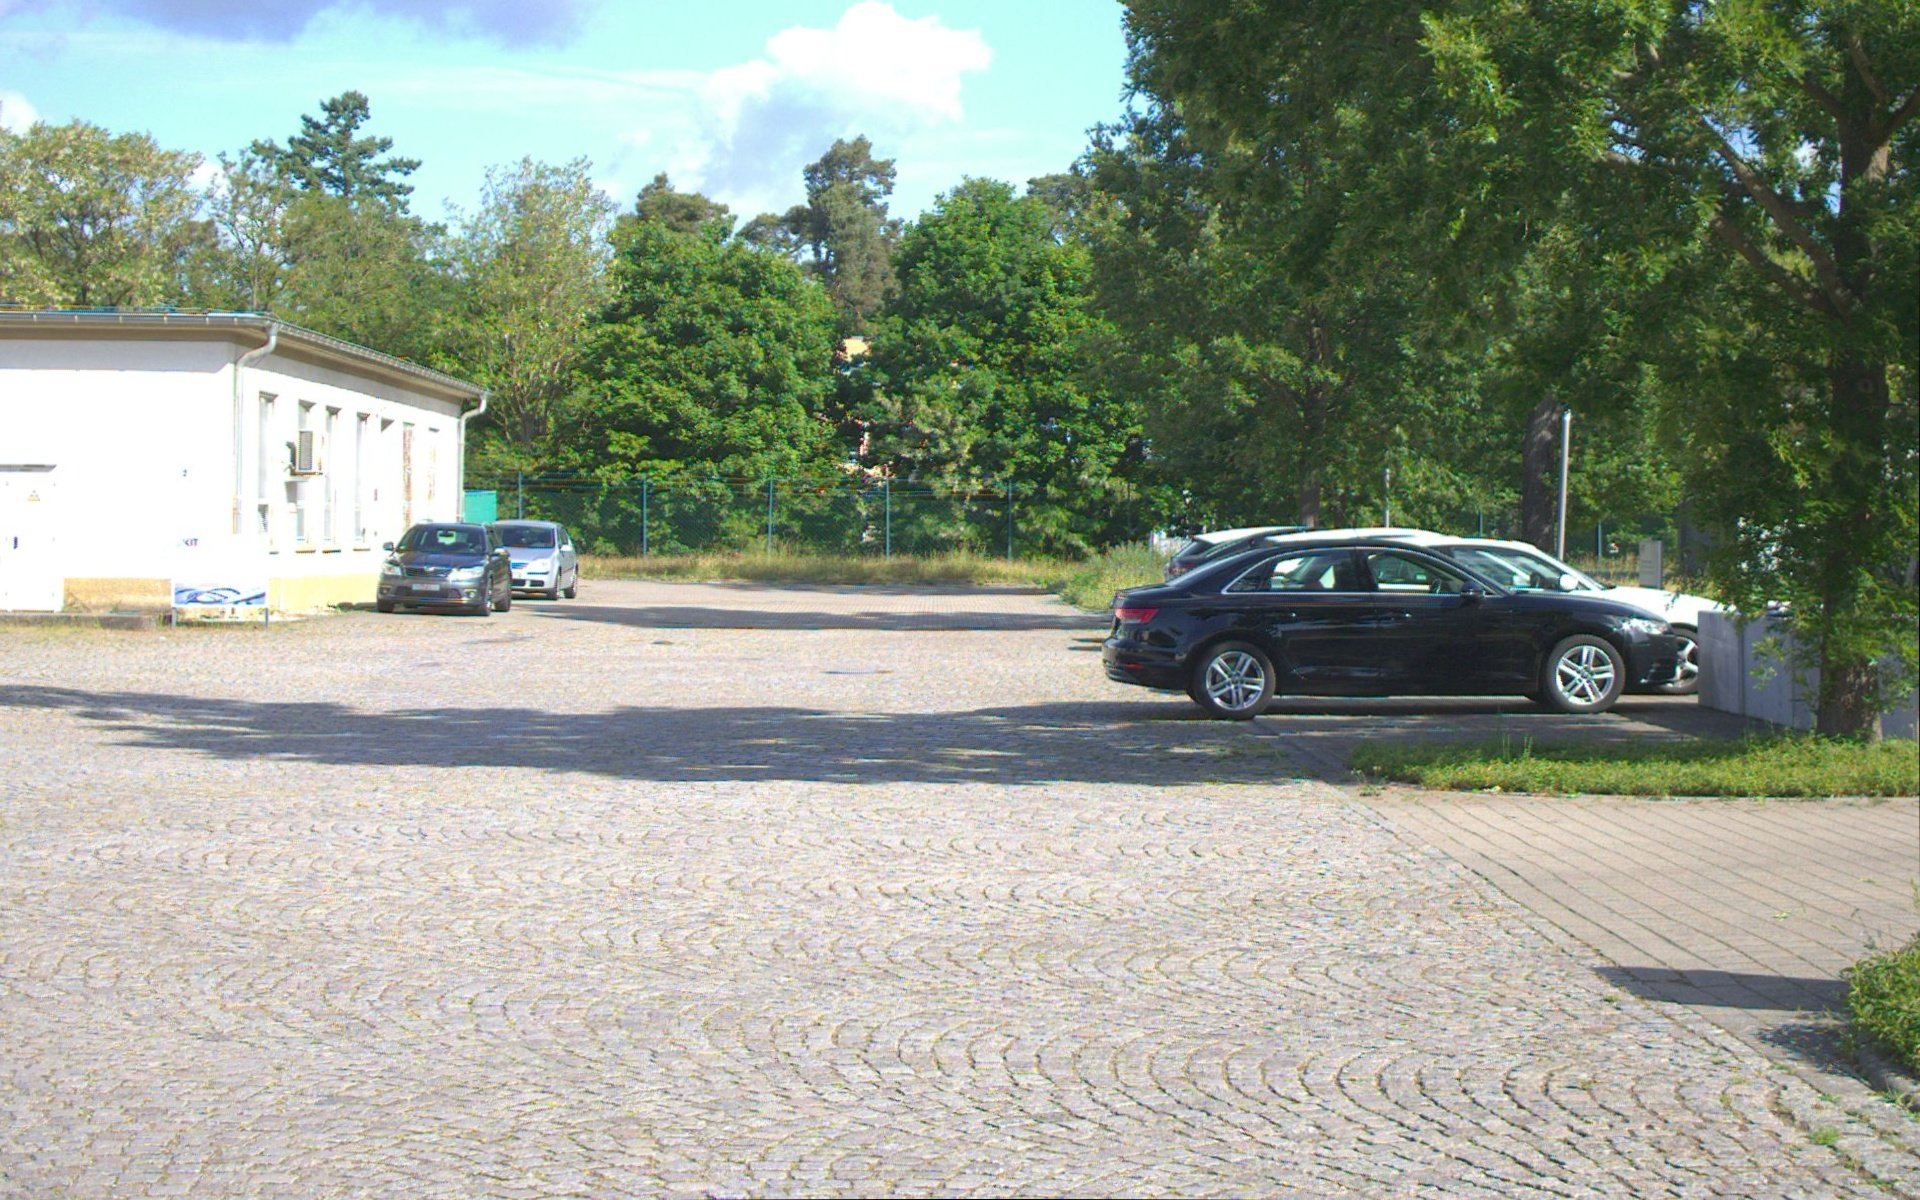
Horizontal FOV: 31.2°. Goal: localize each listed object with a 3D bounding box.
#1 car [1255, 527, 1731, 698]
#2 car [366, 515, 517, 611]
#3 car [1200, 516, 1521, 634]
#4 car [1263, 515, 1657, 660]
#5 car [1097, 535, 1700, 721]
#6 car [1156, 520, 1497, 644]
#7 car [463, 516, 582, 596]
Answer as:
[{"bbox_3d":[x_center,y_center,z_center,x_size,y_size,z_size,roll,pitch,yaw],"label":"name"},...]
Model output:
[{"bbox_3d":[4.753,0.094,31.117,4.139,1.455,1.691,-1,1,5],"label":"car"},{"bbox_3d":[-8.259,-0.619,55.083,1.763,1.430,3.992,1,1,0],"label":"car"},{"bbox_3d":[5.100,-0.331,44.156,3.912,1.430,1.796,-1,1,1],"label":"car"},{"bbox_3d":[5.232,-0.144,36.326,3.912,1.441,1.756,-1,1,1],"label":"car"},{"bbox_3d":[3.549,0.208,28.391,4.718,1.418,1.757,-1,1,-1],"label":"car"},{"bbox_3d":[4.365,-0.234,41.326,3.912,1.412,1.692,-1,1,1],"label":"car"},{"bbox_3d":[-8.244,-0.857,65.027,1.687,1.430,3.987,1,1,0],"label":"car"}]
